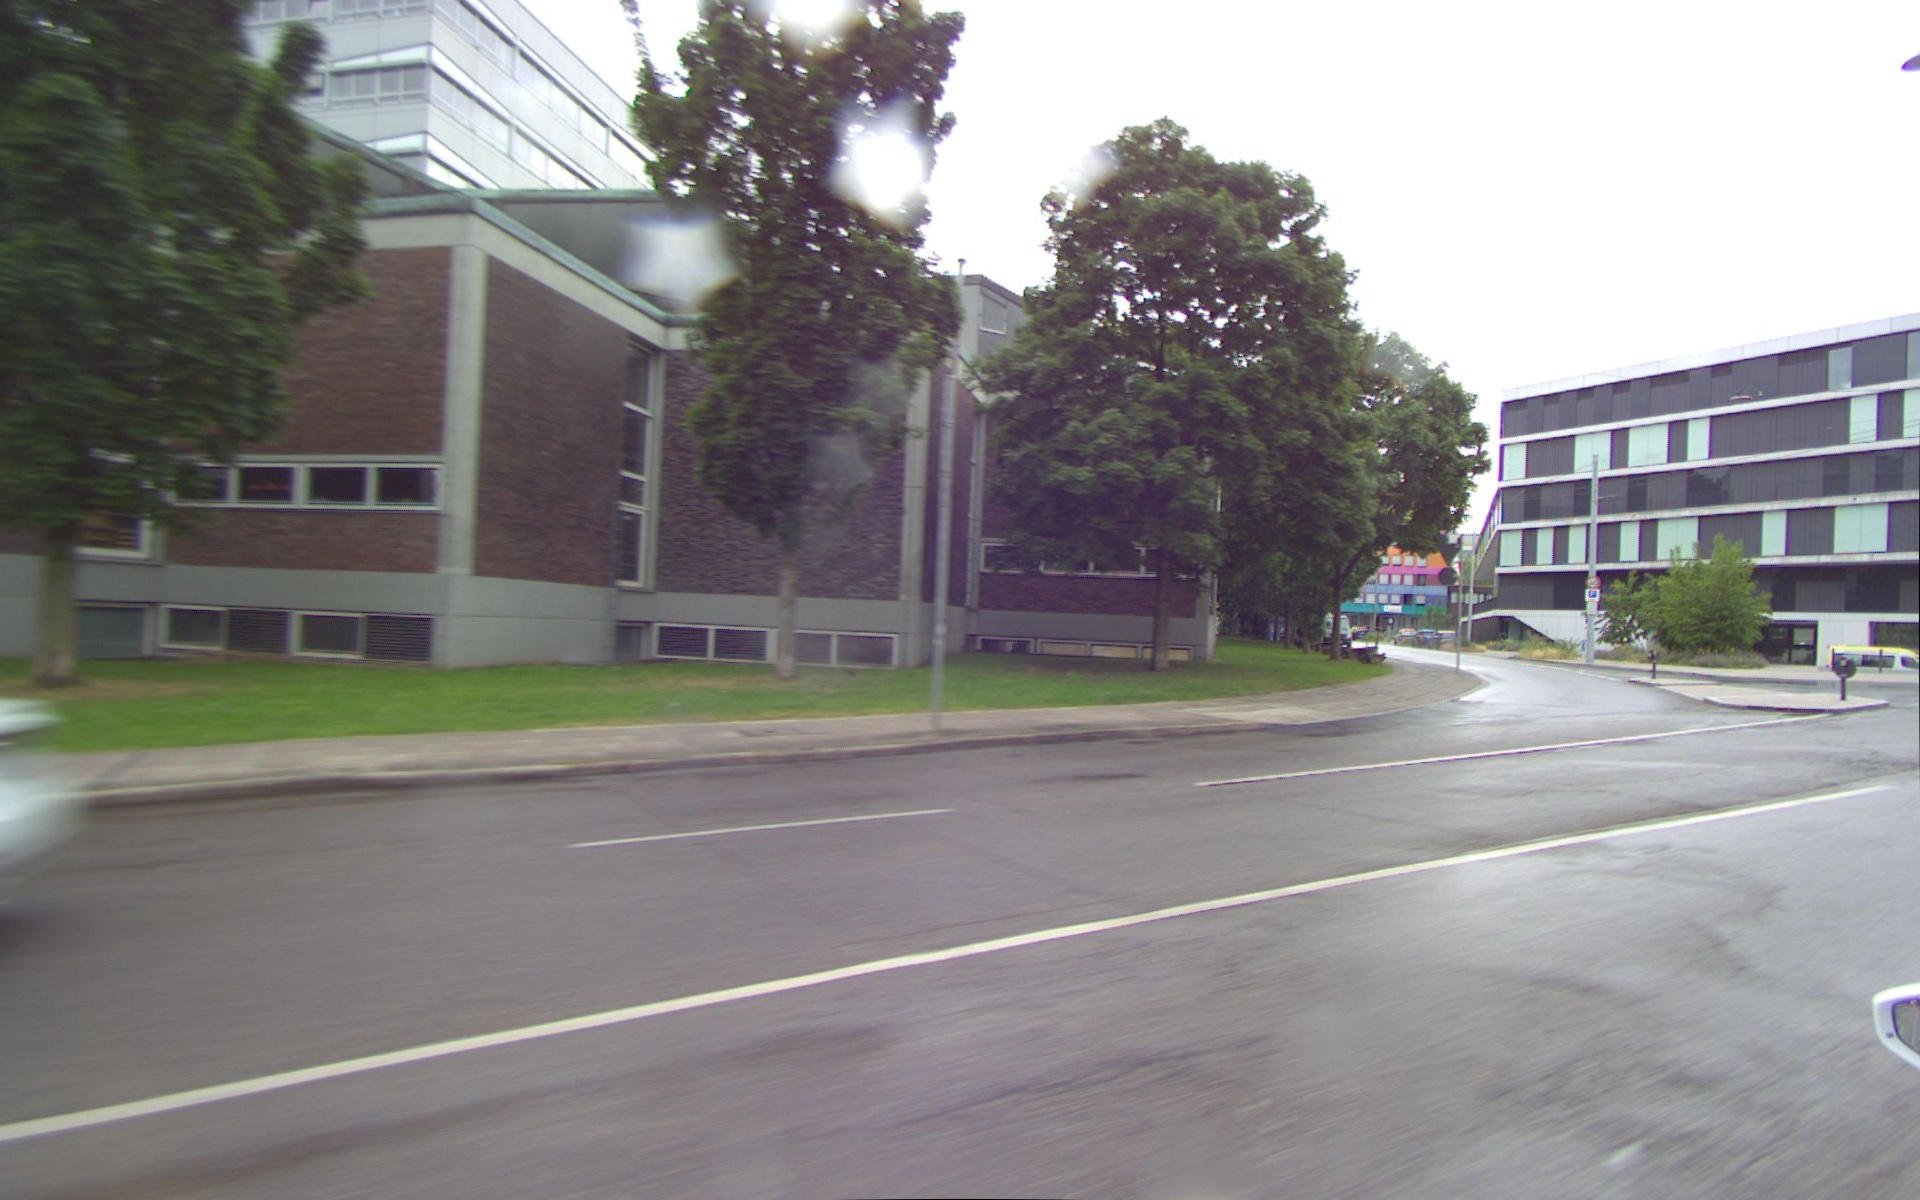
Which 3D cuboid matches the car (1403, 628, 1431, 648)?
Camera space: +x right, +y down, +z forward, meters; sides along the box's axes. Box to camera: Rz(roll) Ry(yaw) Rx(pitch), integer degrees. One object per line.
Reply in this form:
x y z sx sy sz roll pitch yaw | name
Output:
39.823 3.286 87.538 1.770 1.609 3.679 2 0 18 | car

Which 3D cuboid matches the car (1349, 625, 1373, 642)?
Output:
46.388 3.843 116.334 1.959 1.864 4.002 1 0 14 | car

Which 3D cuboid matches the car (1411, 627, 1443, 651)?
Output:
38.641 3.213 83.196 1.883 1.762 4.001 2 0 18 | car

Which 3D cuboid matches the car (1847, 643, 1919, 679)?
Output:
60.280 3.944 64.735 1.580 2.059 4.320 2 0 -30 | car

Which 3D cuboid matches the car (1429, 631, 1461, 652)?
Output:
37.307 3.193 77.287 1.635 1.469 3.869 2 0 18 | car

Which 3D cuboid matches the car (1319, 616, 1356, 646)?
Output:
27.298 2.217 72.709 2.035 2.070 4.281 2 0 16 | car

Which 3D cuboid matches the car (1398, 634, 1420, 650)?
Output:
40.934 3.805 91.581 1.452 1.258 3.401 2 0 18 | car

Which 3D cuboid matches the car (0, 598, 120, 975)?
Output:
-6.408 0.720 3.383 5.155 1.510 1.874 1 -3 -29 | car

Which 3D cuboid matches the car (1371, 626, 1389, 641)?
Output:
44.493 3.547 106.531 1.413 1.514 3.640 1 -1 18 | car

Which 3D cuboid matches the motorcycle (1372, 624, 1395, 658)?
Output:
15.783 1.520 37.445 0.404 1.201 1.228 2 0 7 | motorcycle

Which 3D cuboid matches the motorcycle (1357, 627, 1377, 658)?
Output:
15.907 1.656 39.271 0.404 1.139 1.171 2 -1 7 | motorcycle

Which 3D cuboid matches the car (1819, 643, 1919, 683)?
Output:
56.848 3.892 62.690 1.913 2.203 4.558 2 0 -36 | car

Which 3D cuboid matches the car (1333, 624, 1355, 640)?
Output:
48.154 3.956 126.027 1.959 1.864 4.002 1 0 14 | car
